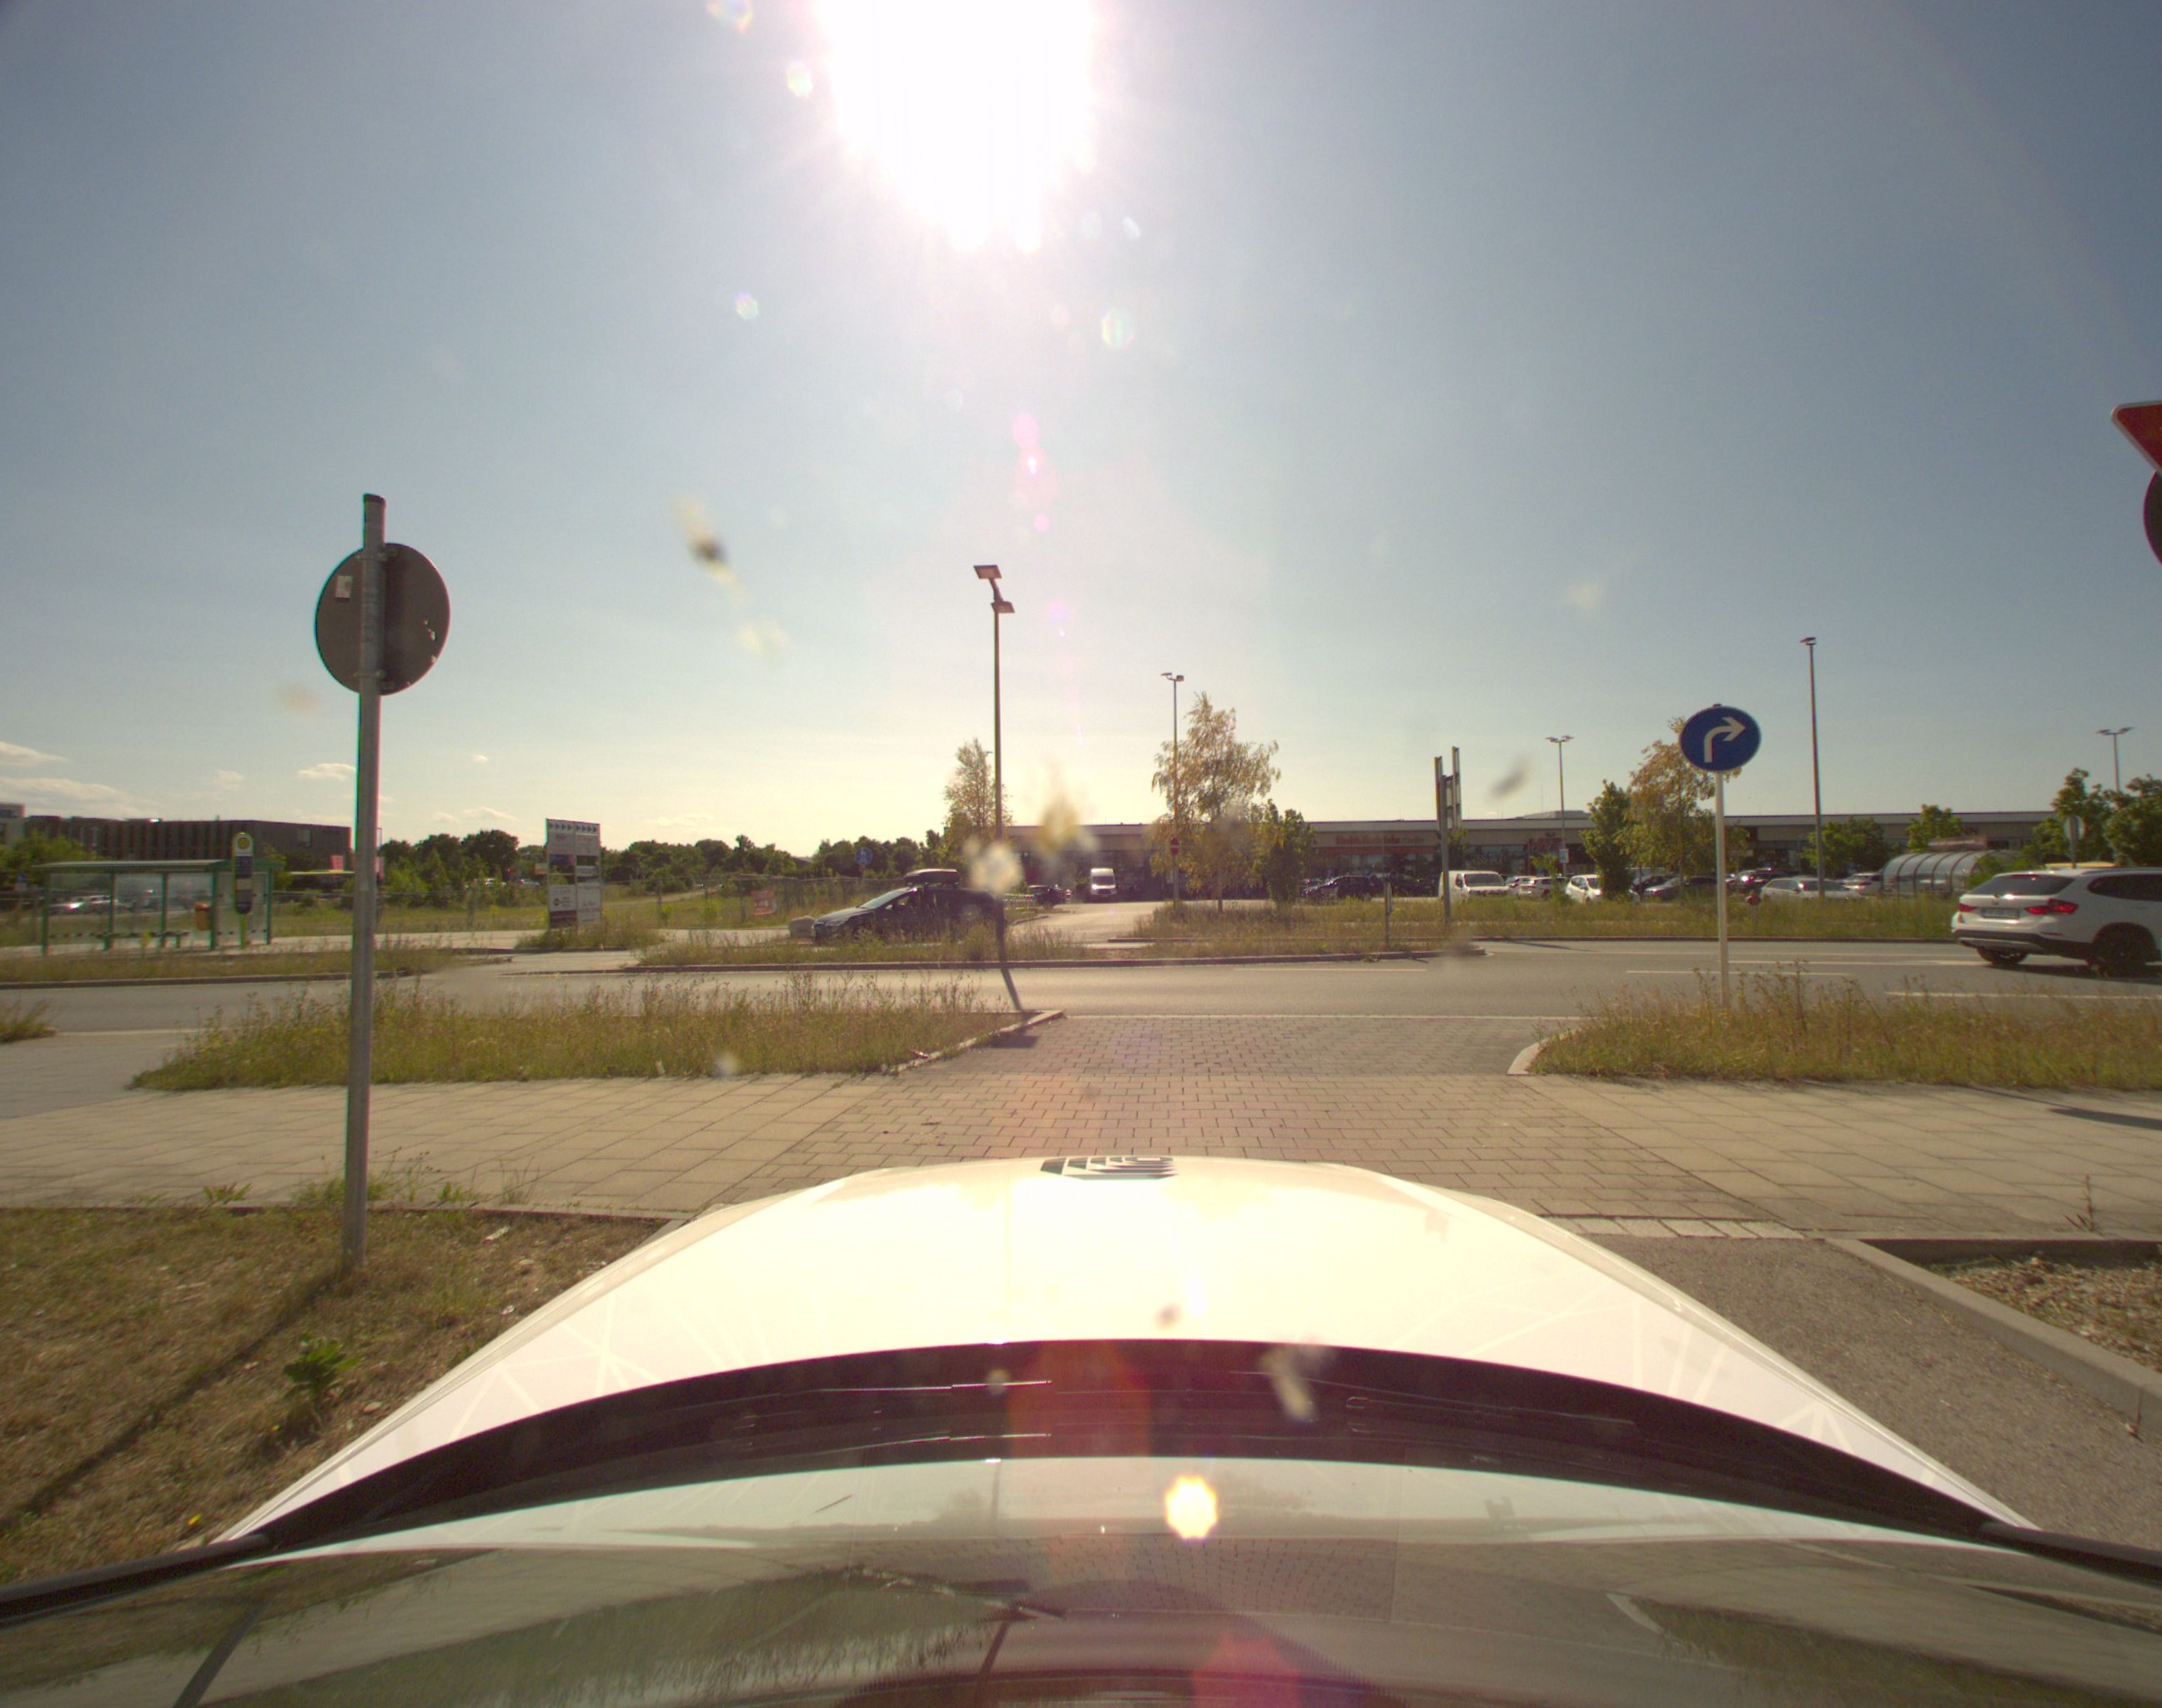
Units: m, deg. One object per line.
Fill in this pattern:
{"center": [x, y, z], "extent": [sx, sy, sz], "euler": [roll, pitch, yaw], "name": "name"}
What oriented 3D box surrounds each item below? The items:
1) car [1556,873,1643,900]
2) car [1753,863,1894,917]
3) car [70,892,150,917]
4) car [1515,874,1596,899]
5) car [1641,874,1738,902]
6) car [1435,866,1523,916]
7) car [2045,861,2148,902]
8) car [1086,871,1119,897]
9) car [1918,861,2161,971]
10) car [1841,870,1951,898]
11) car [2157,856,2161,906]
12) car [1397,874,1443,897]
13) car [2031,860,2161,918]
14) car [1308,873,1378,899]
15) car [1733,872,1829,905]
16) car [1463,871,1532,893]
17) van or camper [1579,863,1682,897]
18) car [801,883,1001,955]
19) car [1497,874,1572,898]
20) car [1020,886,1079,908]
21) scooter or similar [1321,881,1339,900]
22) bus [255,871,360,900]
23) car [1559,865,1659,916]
{"center": [28.630, 1.804, 44.993], "extent": [3.709, 1.391, 1.730], "euler": [-1, -2, -2], "name": "car"}
{"center": [30.013, 1.428, 33.174], "extent": [2.141, 2.014, 5.136], "euler": [-1, -2, 16], "name": "car"}
{"center": [-75.641, 3.934, 63.550], "extent": [1.823, 1.860, 3.984], "euler": [0, -2, -11], "name": "car"}
{"center": [27.729, 1.879, 47.655], "extent": [3.709, 1.391, 1.730], "euler": [-1, -2, -2], "name": "car"}
{"center": [33.941, 1.877, 45.527], "extent": [3.970, 1.508, 1.876], "euler": [0, -2, 3], "name": "car"}
{"center": [17.319, 1.592, 35.729], "extent": [2.068, 2.014, 5.242], "euler": [-1, -2, 10], "name": "car"}
{"center": [70.532, 1.915, 56.610], "extent": [4.453, 2.822, 2.000], "euler": [0, -3, 1], "name": "car"}
{"center": [1.619, 2.384, 64.952], "extent": [2.216, 1.977, 6.690], "euler": [-1, -2, -2], "name": "car"}
{"center": [15.949, 0.902, 12.338], "extent": [4.535, 1.551, 1.743], "euler": [0, -3, 3], "name": "car"}
{"center": [45.633, 1.680, 45.645], "extent": [4.317, 1.520, 1.657], "euler": [0, -3, 3], "name": "car"}
{"center": [63.645, 1.485, 45.396], "extent": [4.453, 2.822, 2.000], "euler": [0, -3, 1], "name": "car"}
{"center": [26.588, 2.433, 63.988], "extent": [1.986, 1.707, 4.000], "euler": [-1, -2, 1], "name": "car"}
{"center": [39.401, 1.284, 30.807], "extent": [2.140, 2.014, 5.139], "euler": [-1, -2, 19], "name": "car"}
{"center": [16.297, 2.007, 50.806], "extent": [3.779, 1.509, 1.732], "euler": [-1, -2, 2], "name": "car"}
{"center": [46.126, 2.276, 53.733], "extent": [4.447, 2.103, 2.003], "euler": [-1, -3, 6], "name": "car"}
{"center": [27.382, 1.833, 53.610], "extent": [3.709, 1.391, 1.730], "euler": [-1, -2, -2], "name": "car"}
{"center": [34.313, 1.647, 50.959], "extent": [5.013, 2.014, 2.002], "euler": [-1, -2, 3], "name": "van or camper"}
{"center": [-4.216, 1.465, 19.261], "extent": [4.212, 1.517, 1.979], "euler": [1, -3, -34], "name": "car"}
{"center": [28.202, 1.982, 50.671], "extent": [3.709, 1.391, 1.730], "euler": [-1, -2, -2], "name": "car"}
{"center": [-2.046, 2.794, 53.312], "extent": [3.822, 1.423, 1.770], "euler": [0, -2, -2], "name": "car"}
{"center": [15.031, 2.203, 49.167], "extent": [0.938, 1.079, 0.653], "euler": [-1, -2, 6], "name": "scooter or similar"}
{"center": [-79.934, 3.210, 84.582], "extent": [2.576, 2.735, 11.509], "euler": [0, -2, -15], "name": "bus"}
{"center": [22.433, 1.534, 34.853], "extent": [2.141, 2.014, 5.136], "euler": [-1, -2, 16], "name": "car"}
